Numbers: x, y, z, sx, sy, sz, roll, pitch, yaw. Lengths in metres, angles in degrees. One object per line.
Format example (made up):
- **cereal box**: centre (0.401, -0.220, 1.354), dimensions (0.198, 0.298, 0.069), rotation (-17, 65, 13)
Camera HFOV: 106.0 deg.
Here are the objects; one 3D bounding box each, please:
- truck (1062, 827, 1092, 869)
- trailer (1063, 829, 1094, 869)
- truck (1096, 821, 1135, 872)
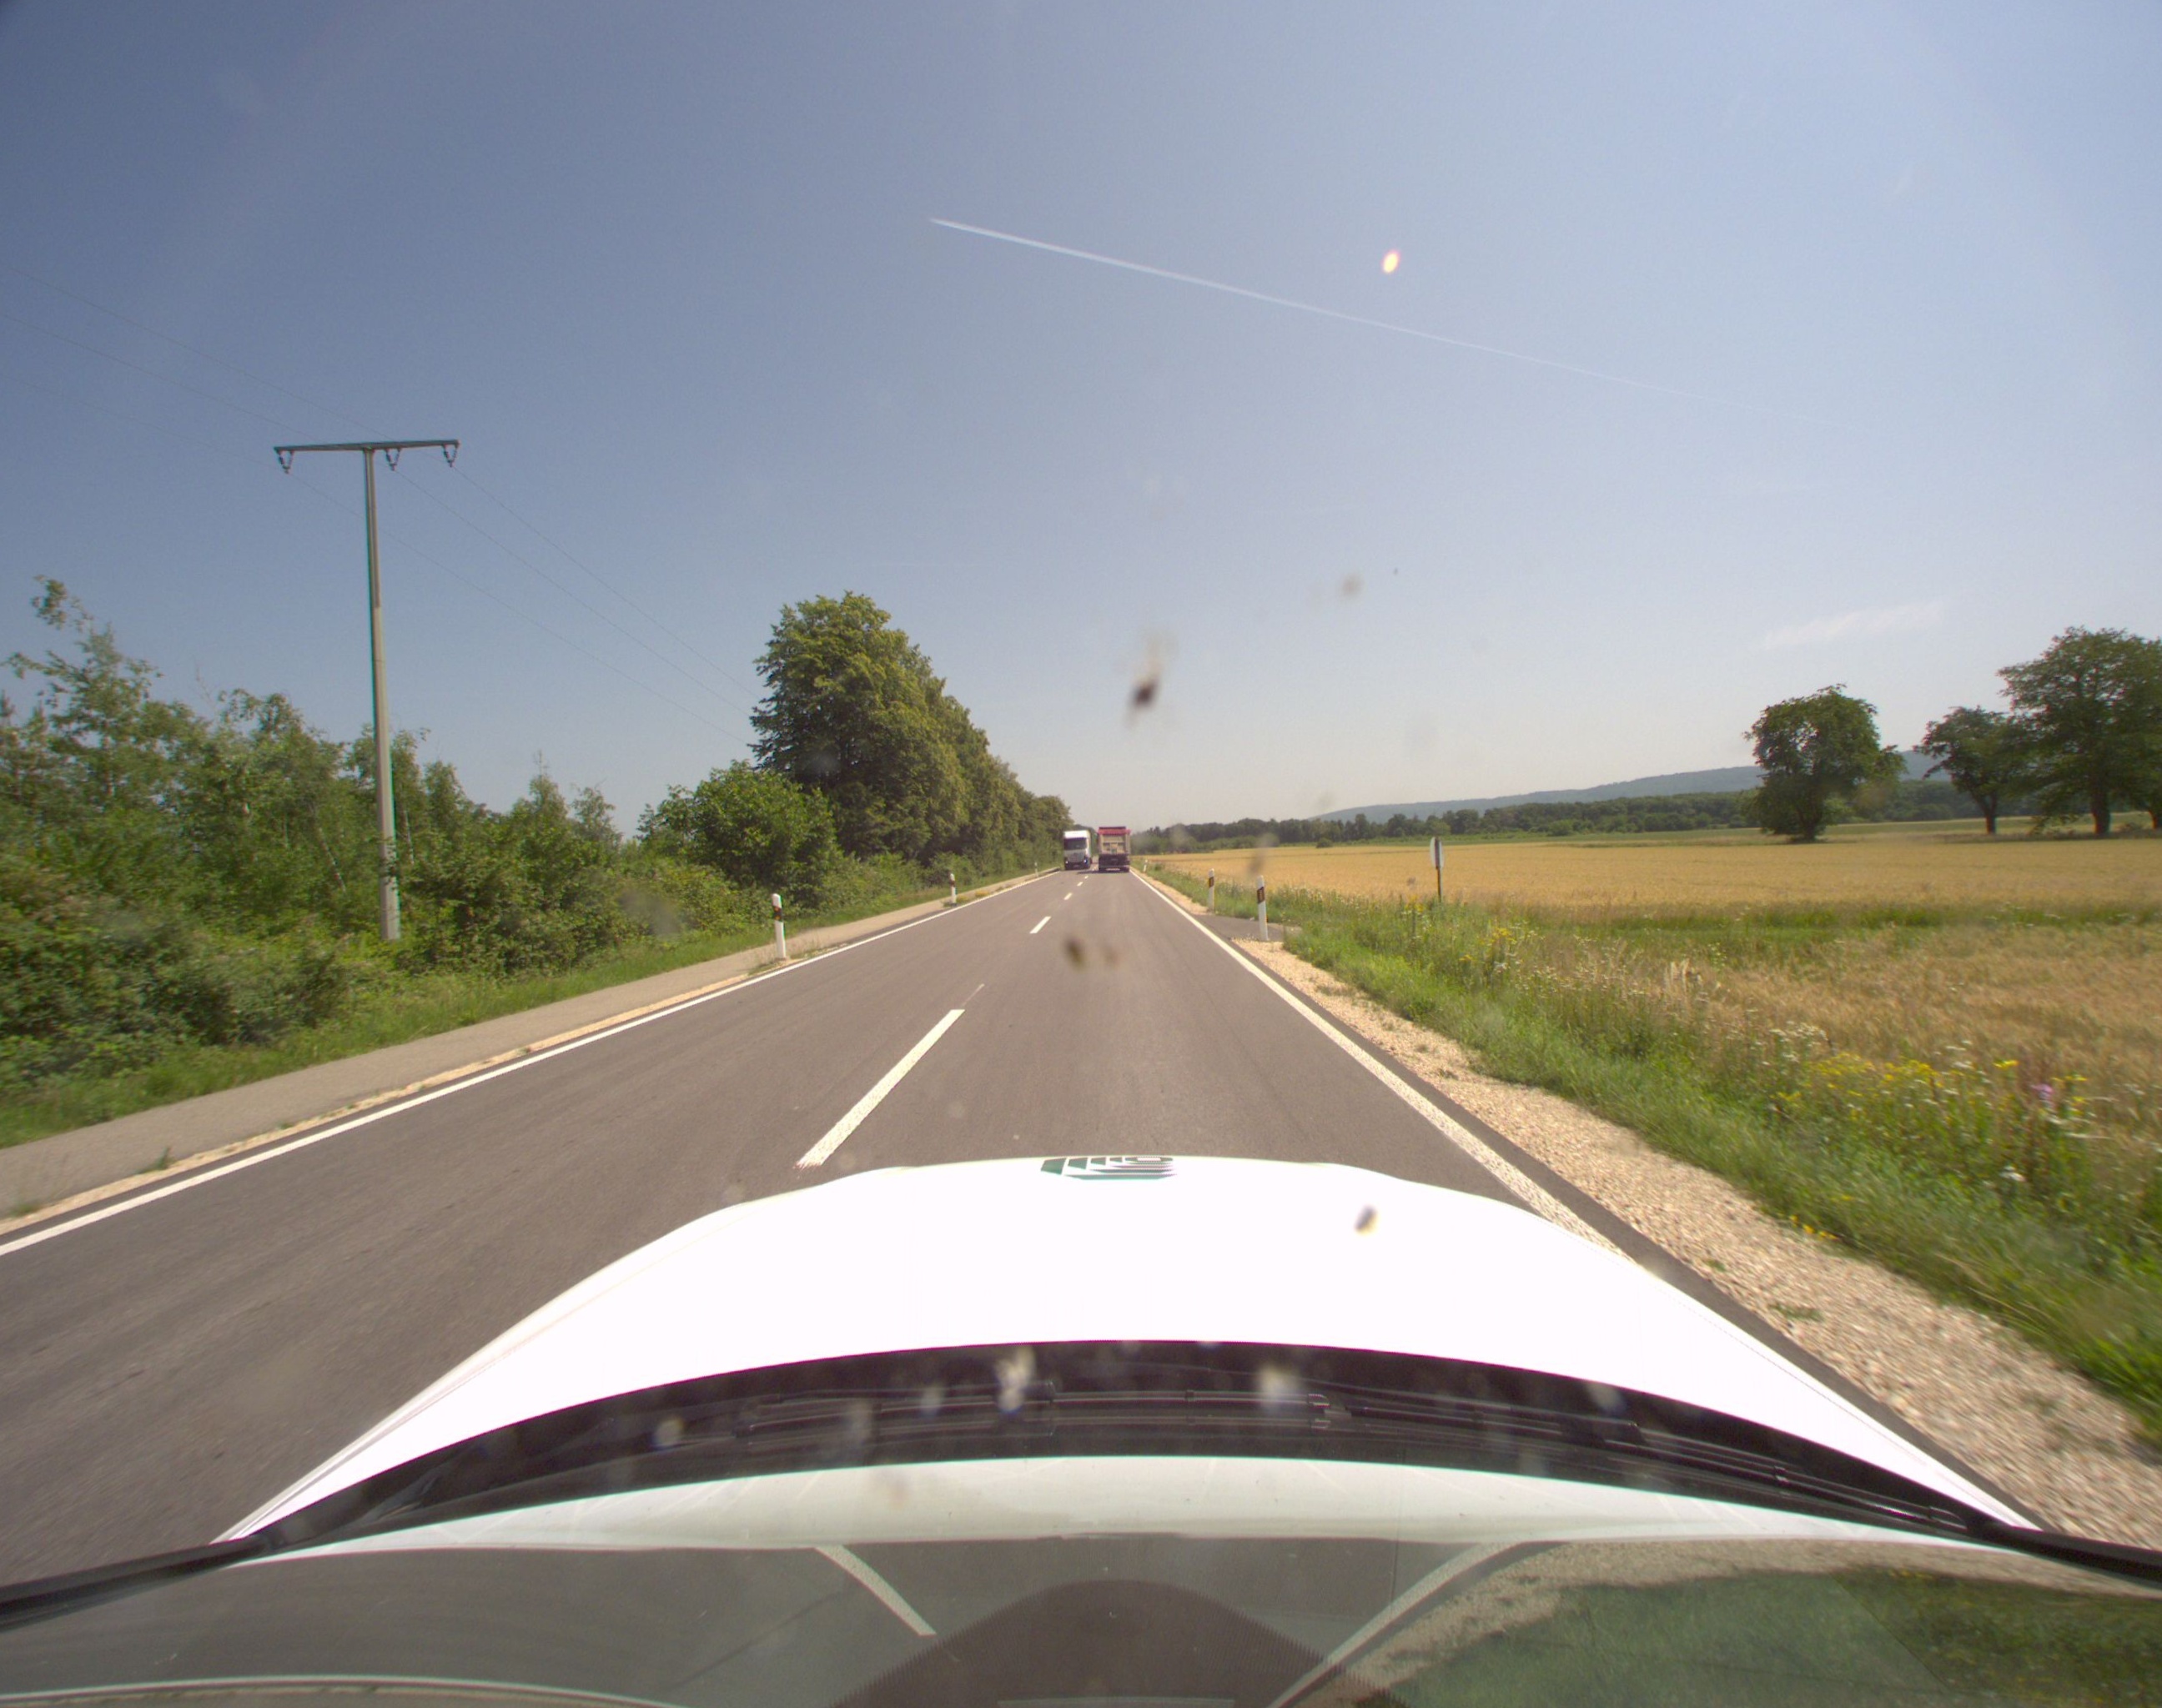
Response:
- **truck**: centre (-0.389, -0.583, 83.982), dimensions (2.646, 3.977, 5.730), rotation (-3, 0, 2)
- **trailer**: centre (-0.155, -0.575, 90.575), dimensions (2.643, 3.977, 13.360), rotation (-3, 0, 2)
- **truck**: centre (2.876, -0.535, 69.256), dimensions (2.998, 3.874, 12.214), rotation (0, 0, 2)
